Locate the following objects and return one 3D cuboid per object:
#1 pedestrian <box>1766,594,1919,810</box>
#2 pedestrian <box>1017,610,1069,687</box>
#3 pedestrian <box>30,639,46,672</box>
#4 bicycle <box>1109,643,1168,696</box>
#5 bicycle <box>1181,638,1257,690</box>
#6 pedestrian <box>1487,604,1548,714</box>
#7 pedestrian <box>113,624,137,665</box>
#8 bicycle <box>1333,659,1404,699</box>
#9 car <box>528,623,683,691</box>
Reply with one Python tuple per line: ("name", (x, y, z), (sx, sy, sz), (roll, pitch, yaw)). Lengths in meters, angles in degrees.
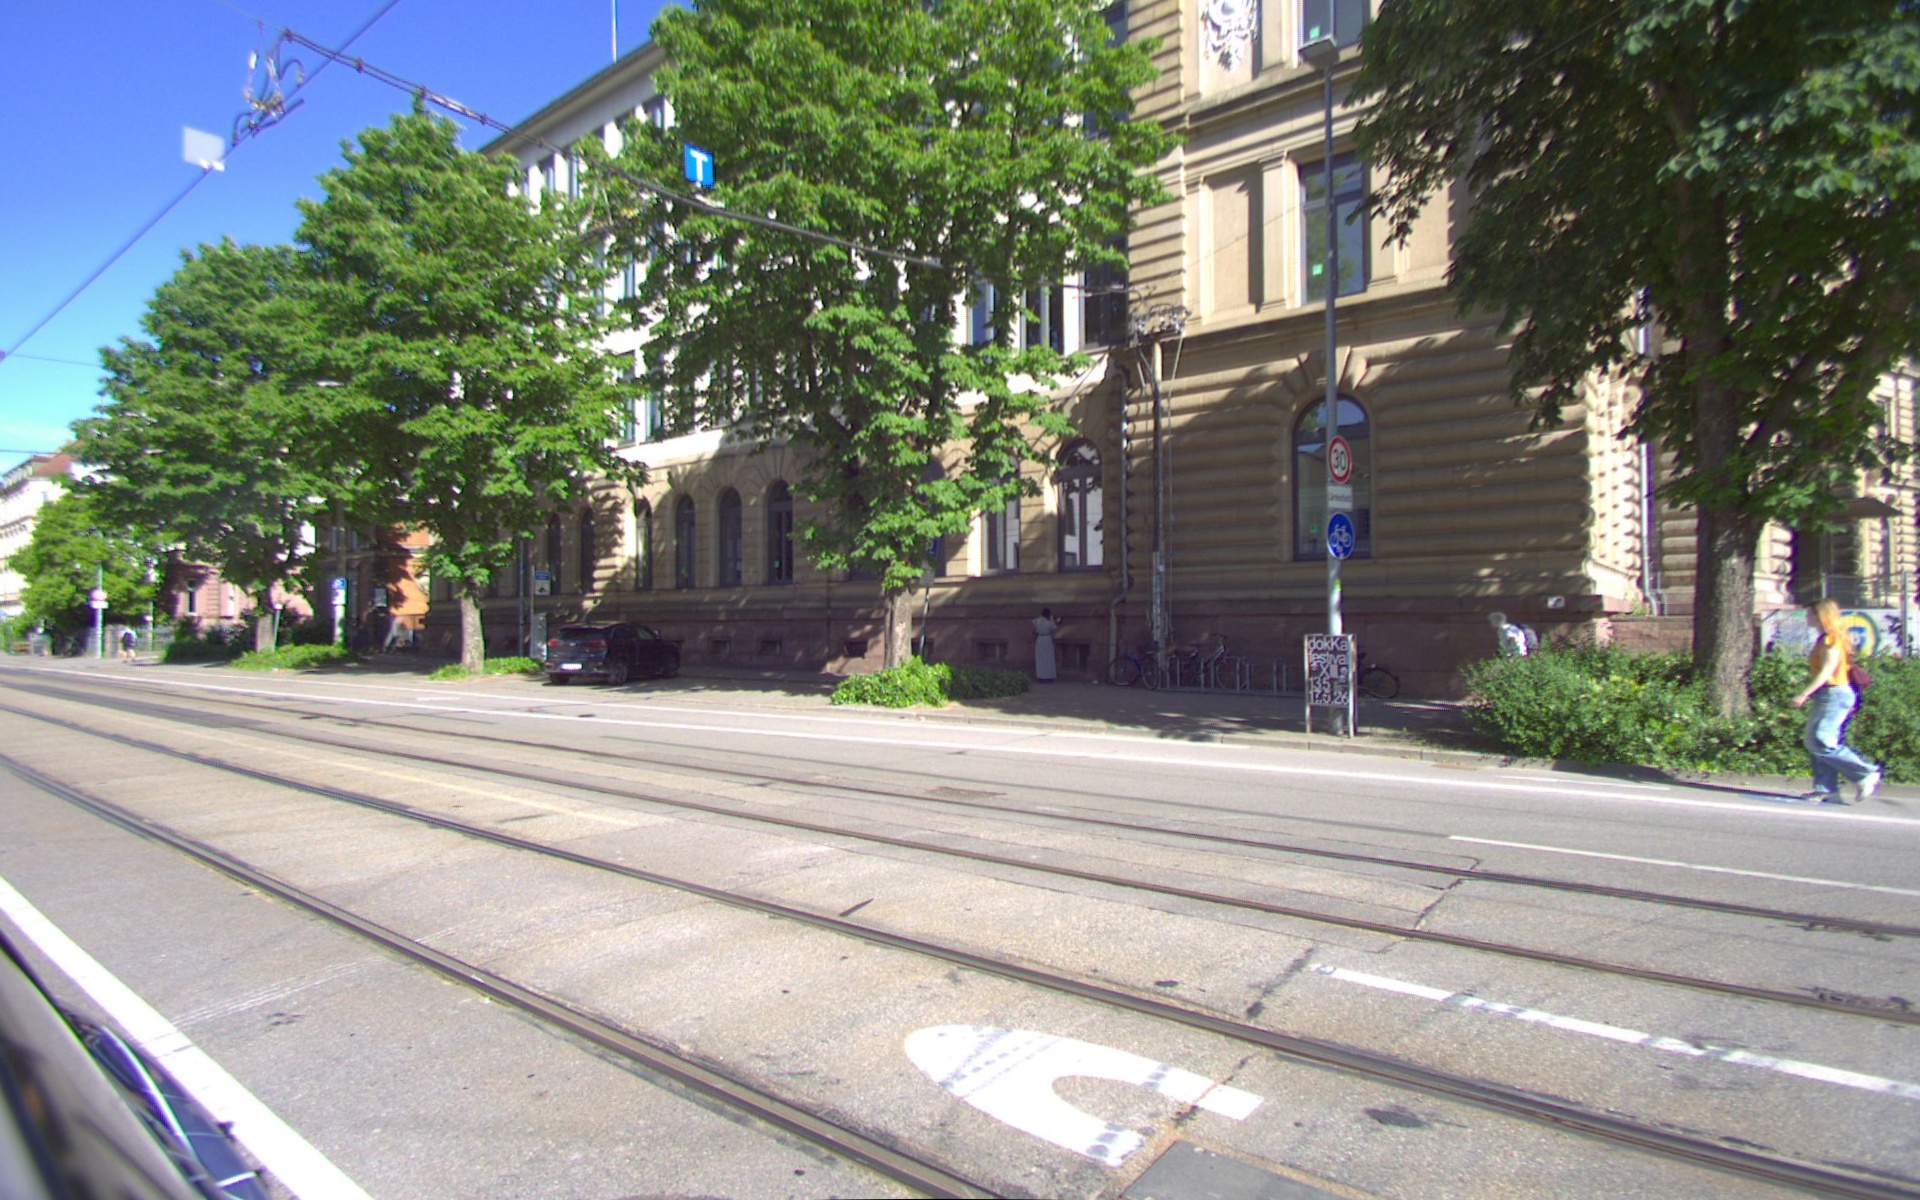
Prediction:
("pedestrian", (7.421, 0.812, 8.442), (1.032, 1.682, 0.762), (-1, -3, 37))
("pedestrian", (1.792, 1.021, 21.864), (0.673, 1.578, 0.846), (-1, 2, 44))
("pedestrian", (-53.437, 3.213, 58.653), (0.653, 1.870, 0.571), (-2, -2, 40))
("bicycle", (3.438, 1.337, 19.549), (1.101, 0.963, 0.339), (-1, 0, 41))
("bicycle", (4.882, 1.201, 19.151), (1.360, 0.910, 0.392), (-1, 0, 41))
("pedestrian", (8.210, 0.851, 14.904), (0.653, 1.574, 0.571), (-2, -2, 39))
("pedestrian", (-38.272, 2.022, 46.374), (0.654, 1.870, 0.719), (-2, -2, 42))
("bicycle", (7.066, 1.360, 17.509), (1.100, 0.641, 0.290), (-1, 0, 38))
("car", (-8.861, 1.382, 25.682), (1.901, 1.586, 4.094), (-1, -2, 12))
